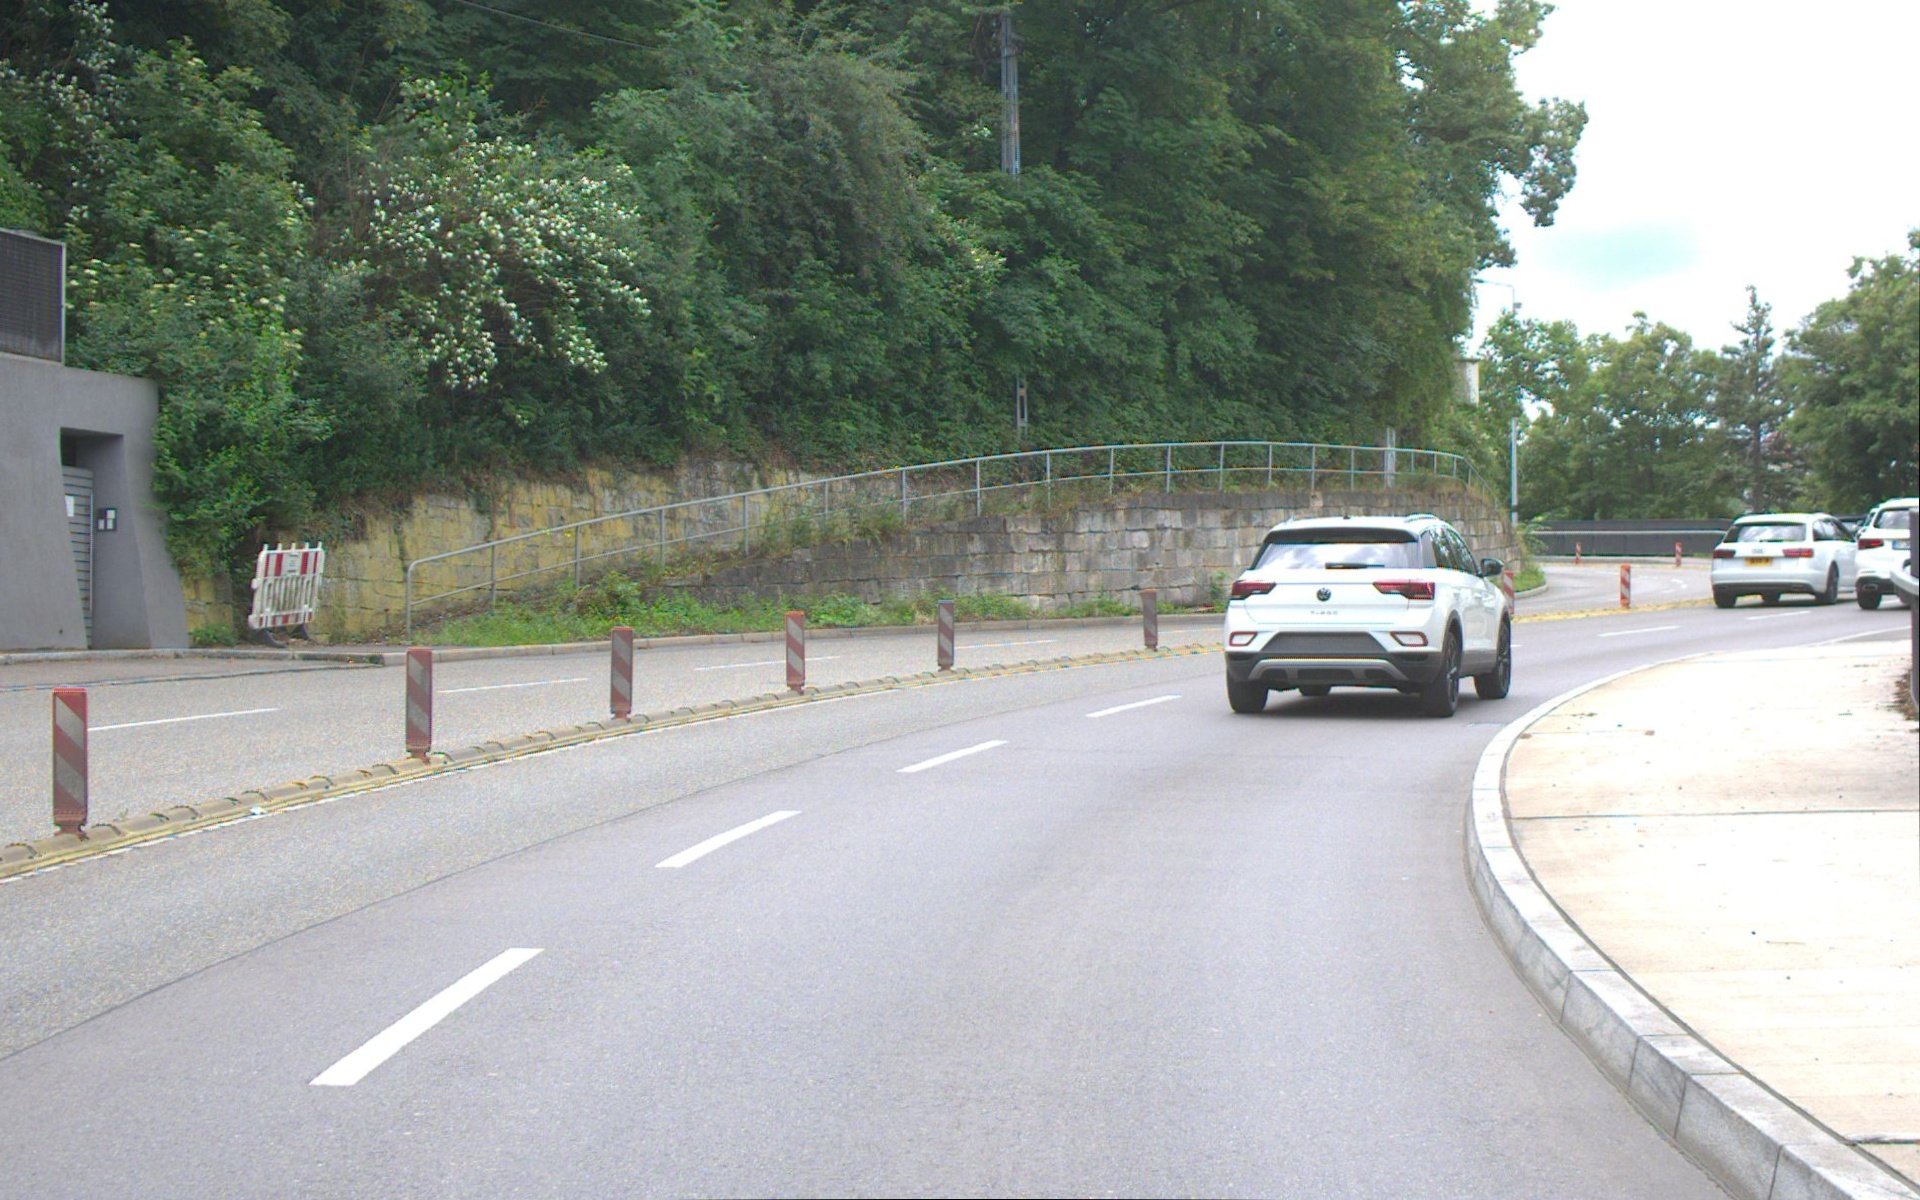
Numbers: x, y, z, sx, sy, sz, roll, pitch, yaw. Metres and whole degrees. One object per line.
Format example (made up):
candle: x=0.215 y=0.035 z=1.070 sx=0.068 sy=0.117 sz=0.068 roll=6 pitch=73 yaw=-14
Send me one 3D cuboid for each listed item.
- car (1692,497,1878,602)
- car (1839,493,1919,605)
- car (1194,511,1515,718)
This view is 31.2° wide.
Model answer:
car: x=13.196 y=-0.784 z=54.843 sx=1.909 sy=1.568 sz=3.994 roll=2 pitch=1 yaw=28
car: x=14.696 y=-0.720 z=51.220 sx=1.997 sy=1.581 sz=3.993 roll=2 pitch=1 yaw=31
car: x=3.272 y=0.059 z=27.927 sx=1.869 sy=1.531 sz=3.800 roll=1 pitch=2 yaw=18
